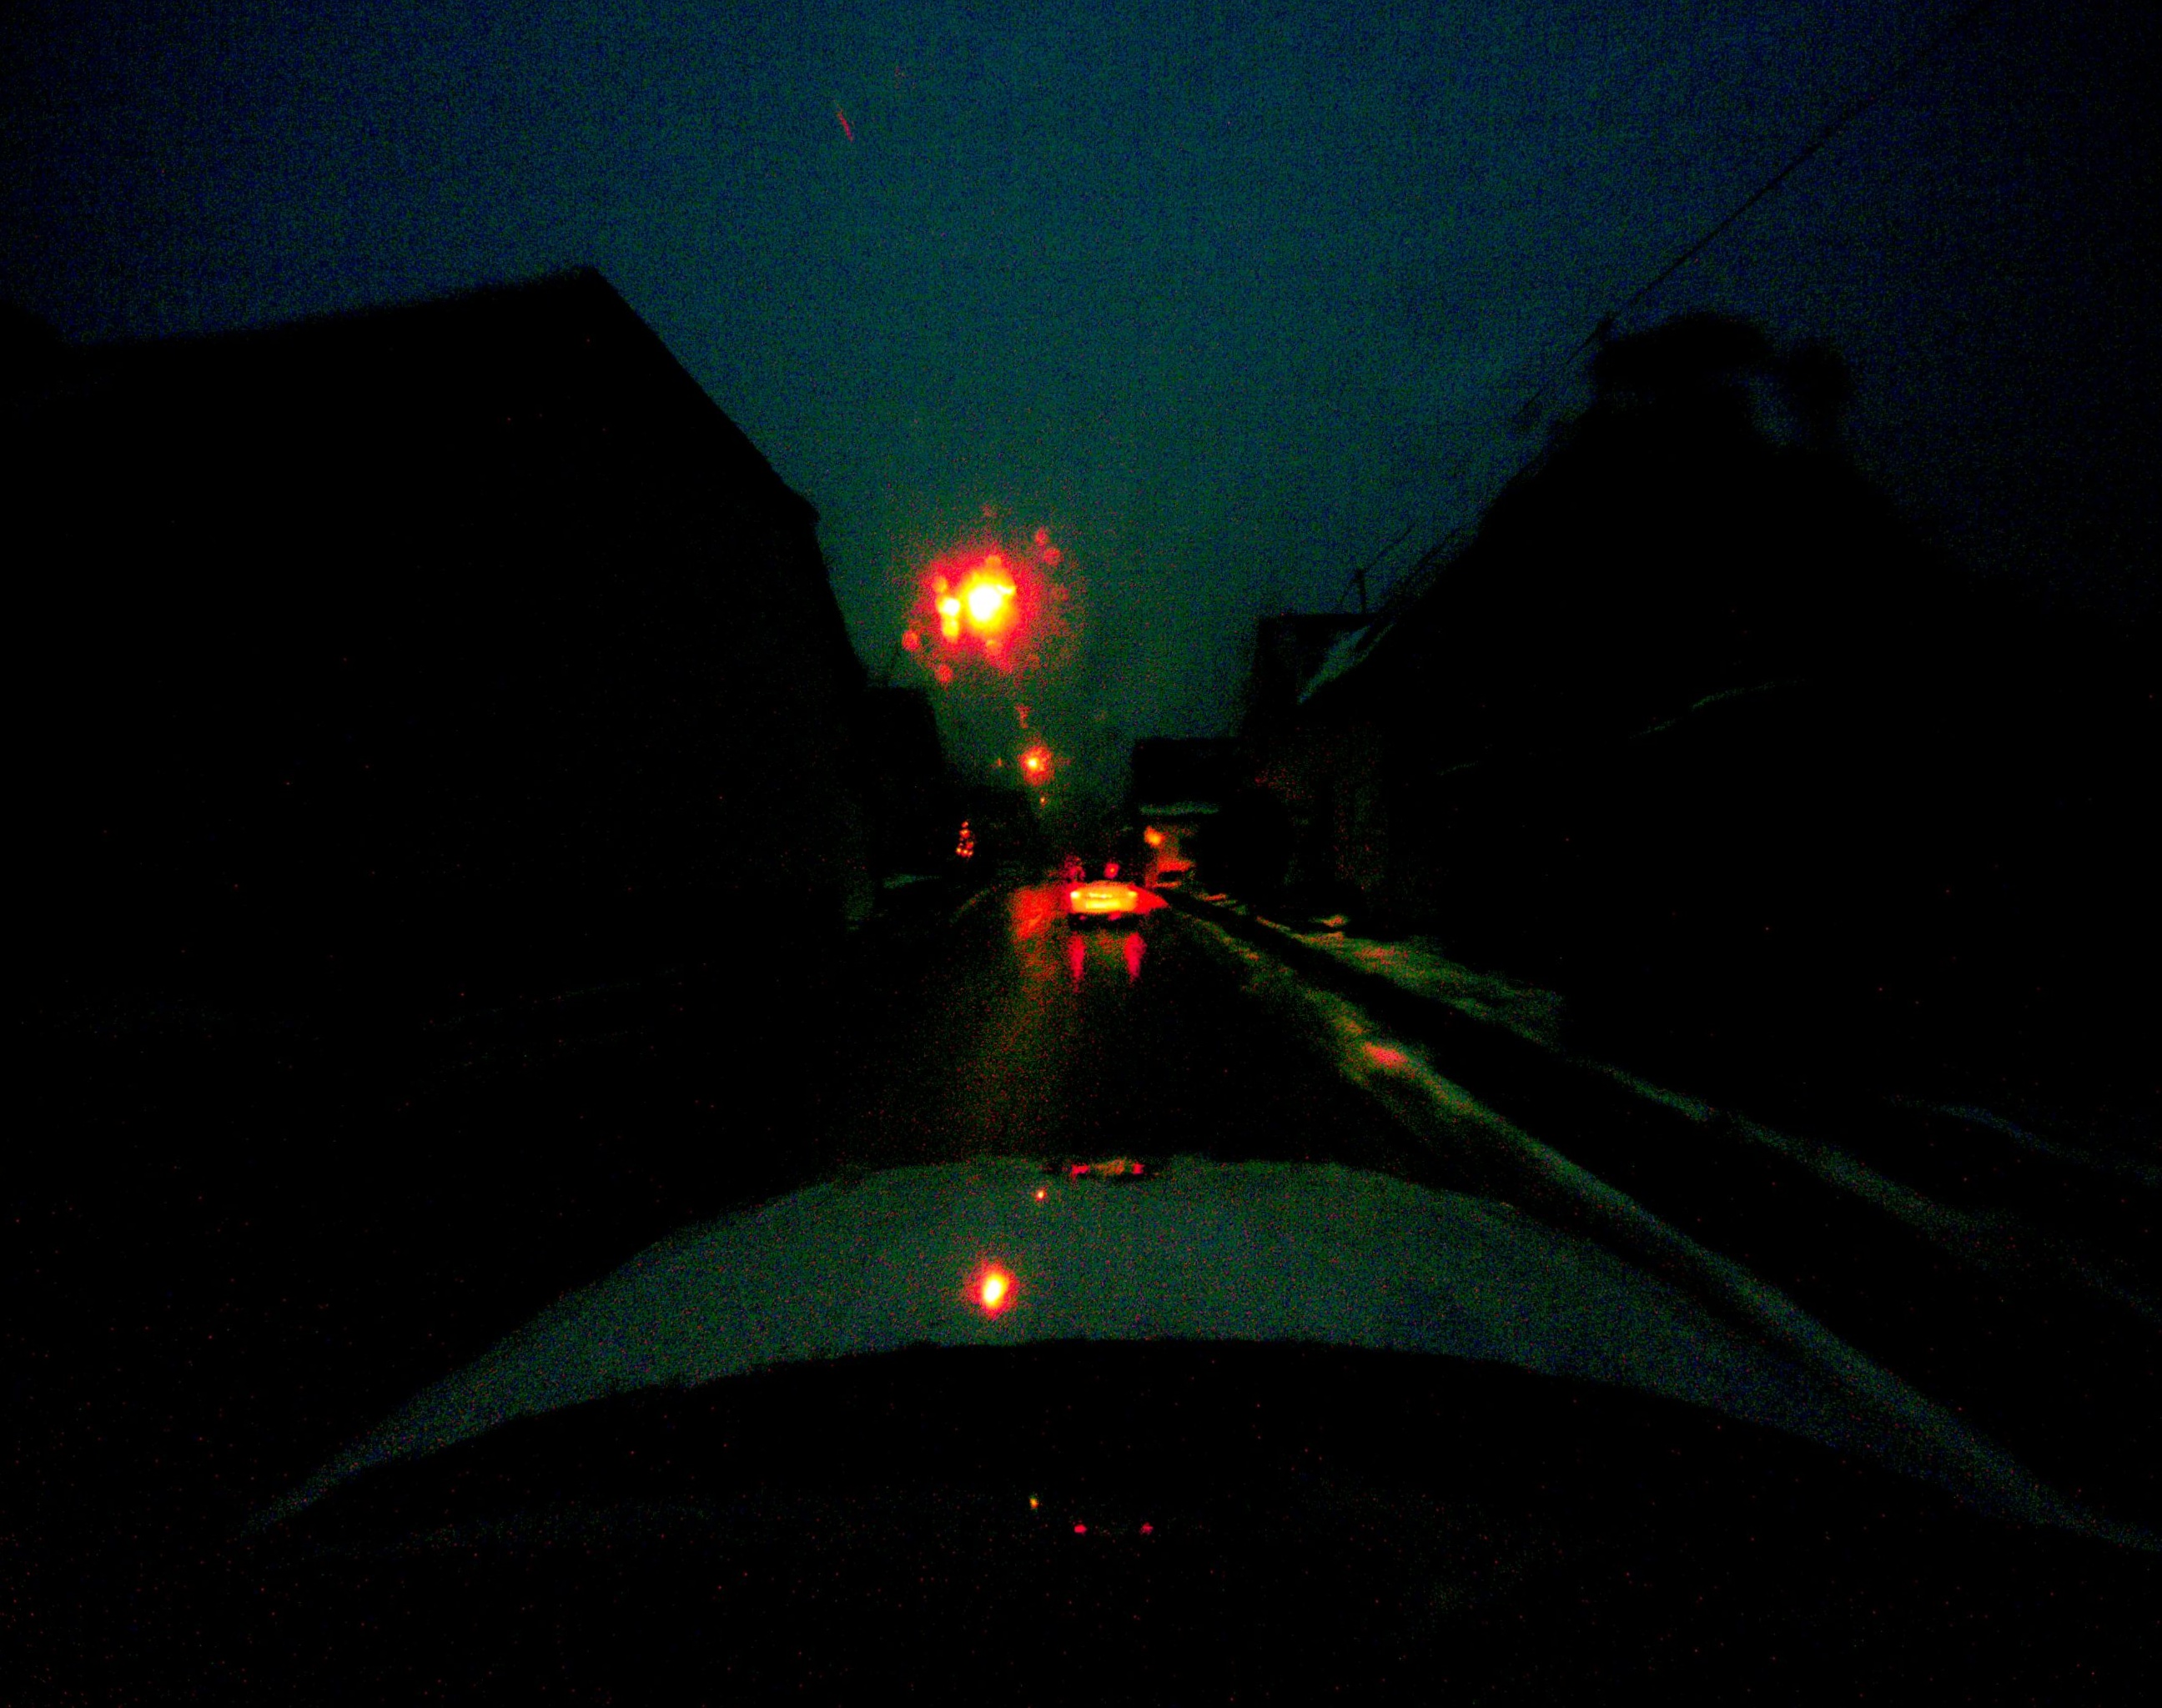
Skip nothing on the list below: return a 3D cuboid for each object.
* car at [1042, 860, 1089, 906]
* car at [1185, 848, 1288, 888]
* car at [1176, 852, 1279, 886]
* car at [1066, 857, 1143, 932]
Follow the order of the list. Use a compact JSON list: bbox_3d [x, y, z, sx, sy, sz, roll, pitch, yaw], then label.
[{"bbox_3d":[-0.534,1.067,30.537,1.640,1.596,3.698,1,-1,0],"label":"car"},{"bbox_3d":[6.261,0.540,33.067,3.736,1.497,1.818,-1,0,-6],"label":"car"},{"bbox_3d":[6.427,0.633,36.036,4.162,1.433,1.898,0,0,-5],"label":"car"},{"bbox_3d":[0.552,0.908,19.360,1.639,1.596,3.700,0,-1,1],"label":"car"}]
